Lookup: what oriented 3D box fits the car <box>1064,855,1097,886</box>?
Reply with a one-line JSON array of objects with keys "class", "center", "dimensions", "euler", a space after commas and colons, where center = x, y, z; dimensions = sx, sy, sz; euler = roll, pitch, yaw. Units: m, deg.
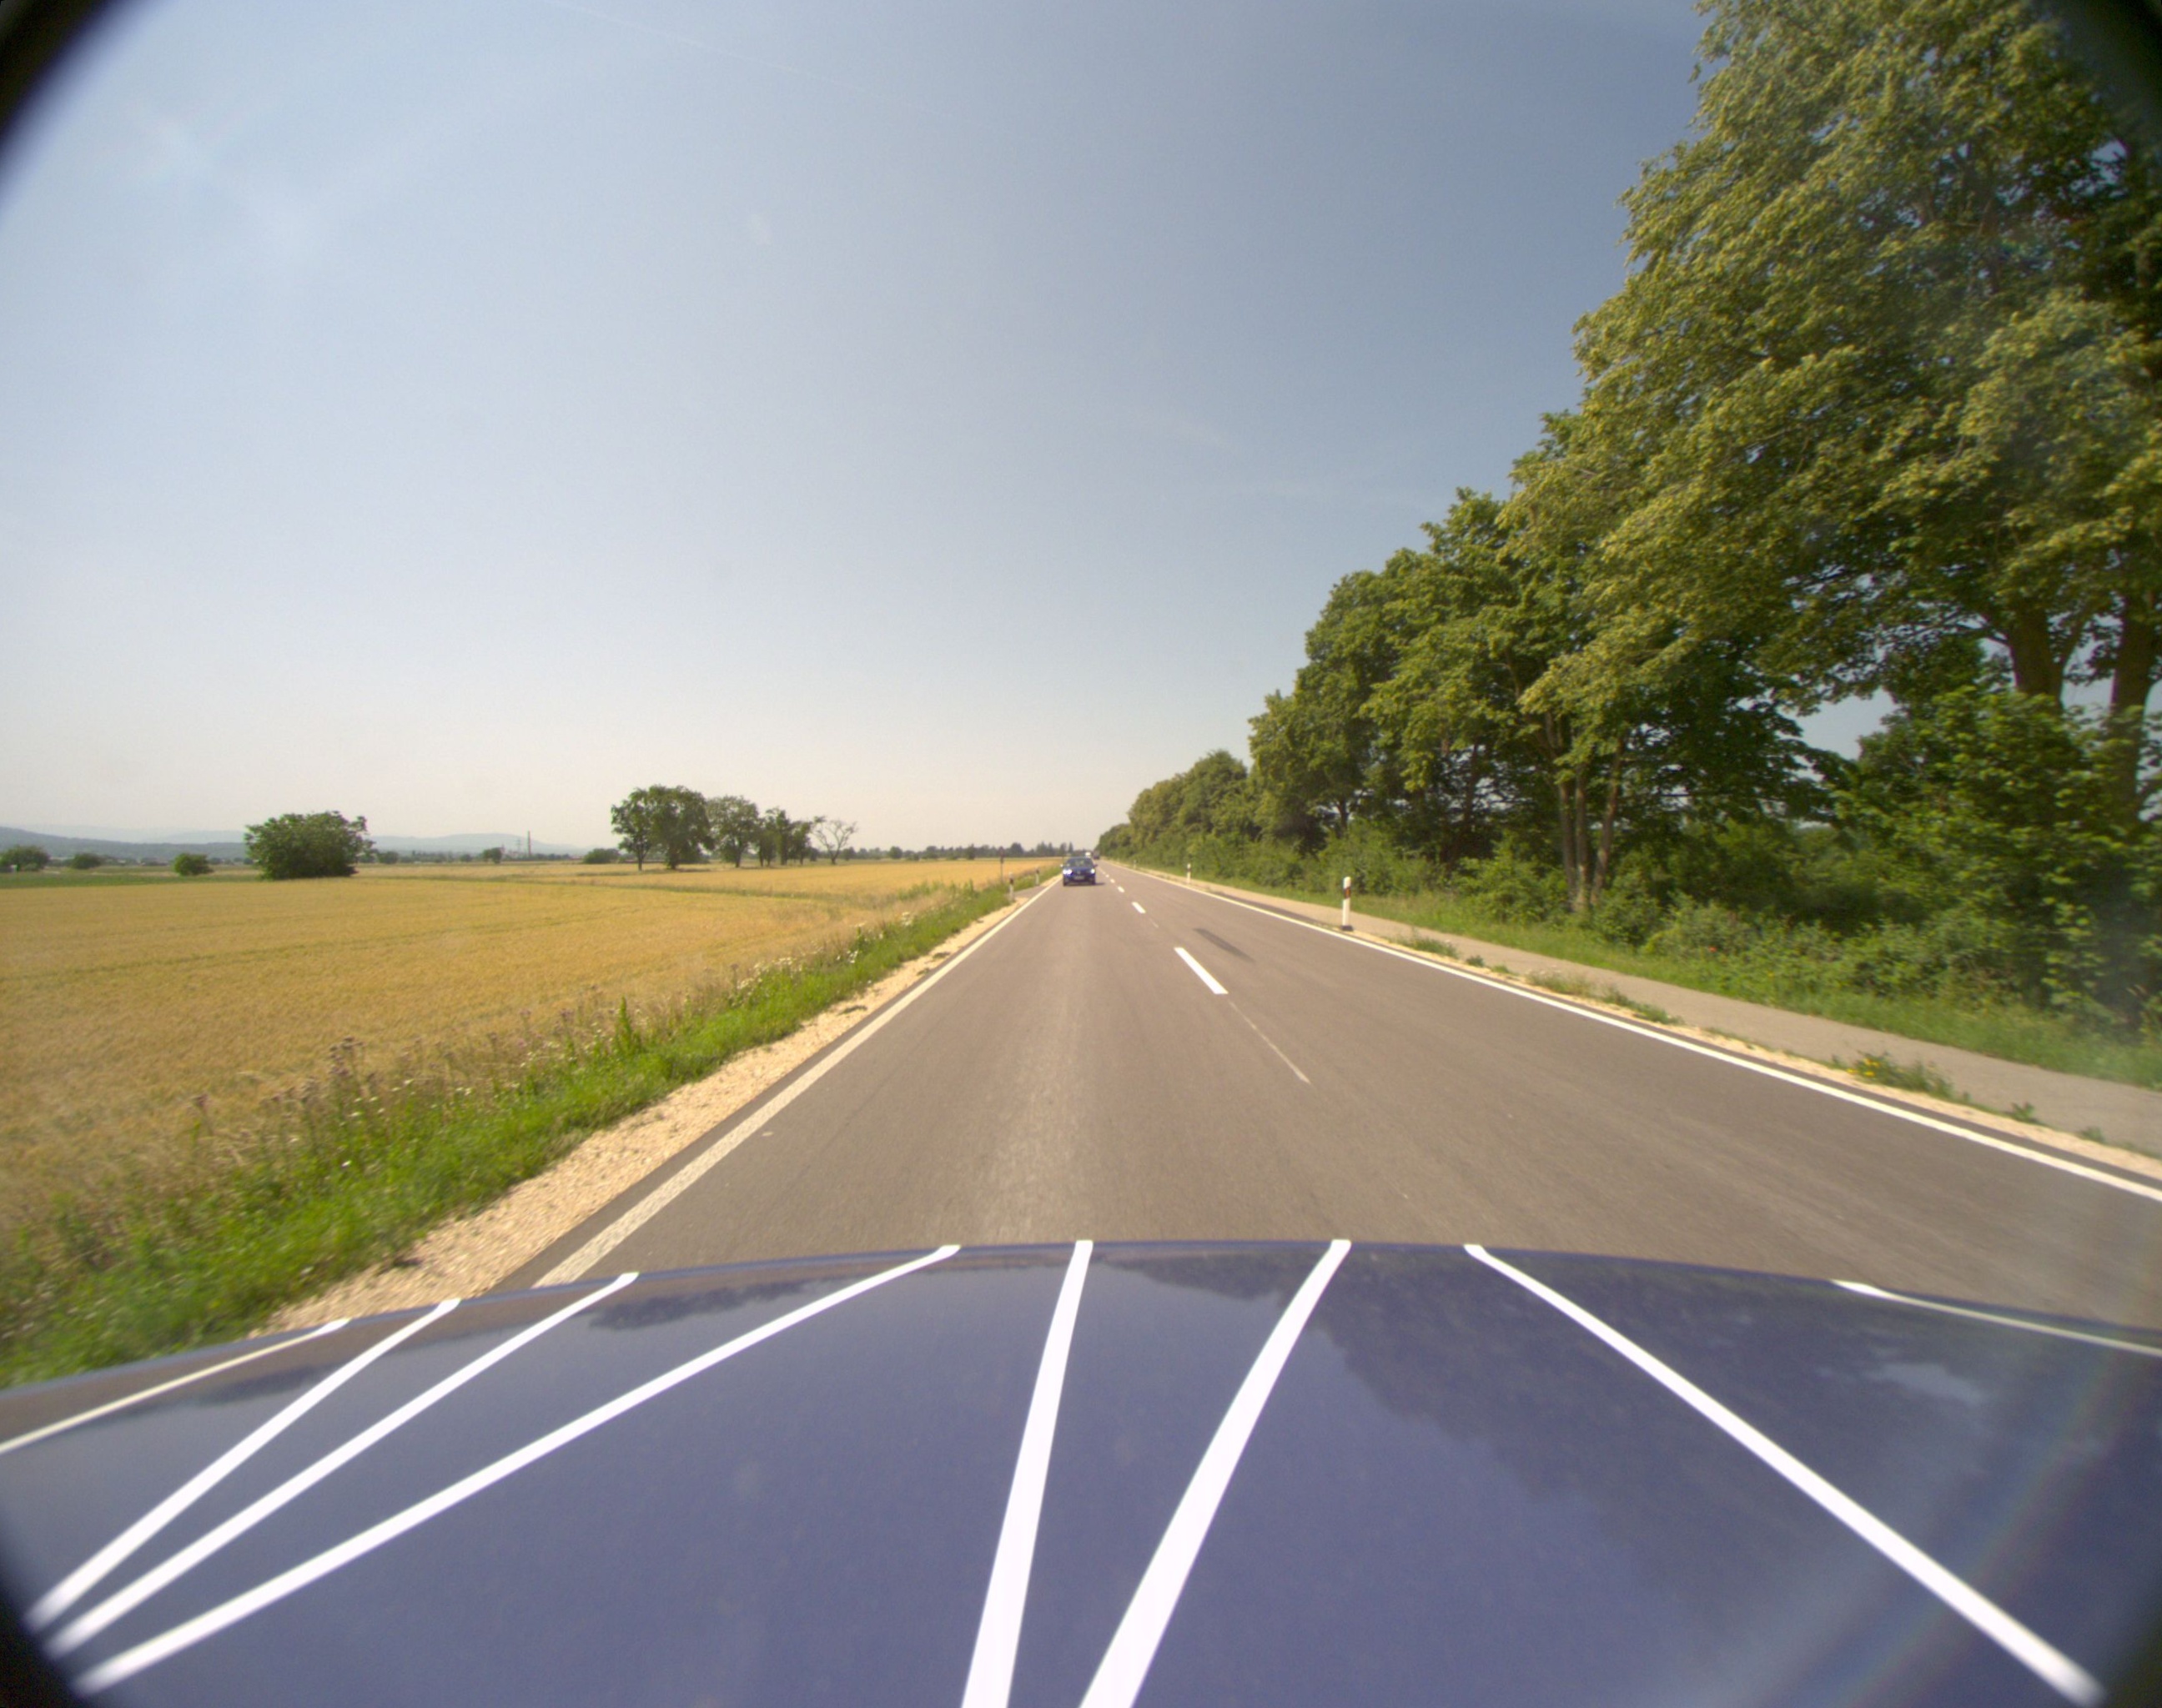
[{"class": "car", "center": [-0.004, 0.847, 41.249], "dimensions": [1.662, 1.508, 4.000], "euler": [-2, 0, 0]}]
